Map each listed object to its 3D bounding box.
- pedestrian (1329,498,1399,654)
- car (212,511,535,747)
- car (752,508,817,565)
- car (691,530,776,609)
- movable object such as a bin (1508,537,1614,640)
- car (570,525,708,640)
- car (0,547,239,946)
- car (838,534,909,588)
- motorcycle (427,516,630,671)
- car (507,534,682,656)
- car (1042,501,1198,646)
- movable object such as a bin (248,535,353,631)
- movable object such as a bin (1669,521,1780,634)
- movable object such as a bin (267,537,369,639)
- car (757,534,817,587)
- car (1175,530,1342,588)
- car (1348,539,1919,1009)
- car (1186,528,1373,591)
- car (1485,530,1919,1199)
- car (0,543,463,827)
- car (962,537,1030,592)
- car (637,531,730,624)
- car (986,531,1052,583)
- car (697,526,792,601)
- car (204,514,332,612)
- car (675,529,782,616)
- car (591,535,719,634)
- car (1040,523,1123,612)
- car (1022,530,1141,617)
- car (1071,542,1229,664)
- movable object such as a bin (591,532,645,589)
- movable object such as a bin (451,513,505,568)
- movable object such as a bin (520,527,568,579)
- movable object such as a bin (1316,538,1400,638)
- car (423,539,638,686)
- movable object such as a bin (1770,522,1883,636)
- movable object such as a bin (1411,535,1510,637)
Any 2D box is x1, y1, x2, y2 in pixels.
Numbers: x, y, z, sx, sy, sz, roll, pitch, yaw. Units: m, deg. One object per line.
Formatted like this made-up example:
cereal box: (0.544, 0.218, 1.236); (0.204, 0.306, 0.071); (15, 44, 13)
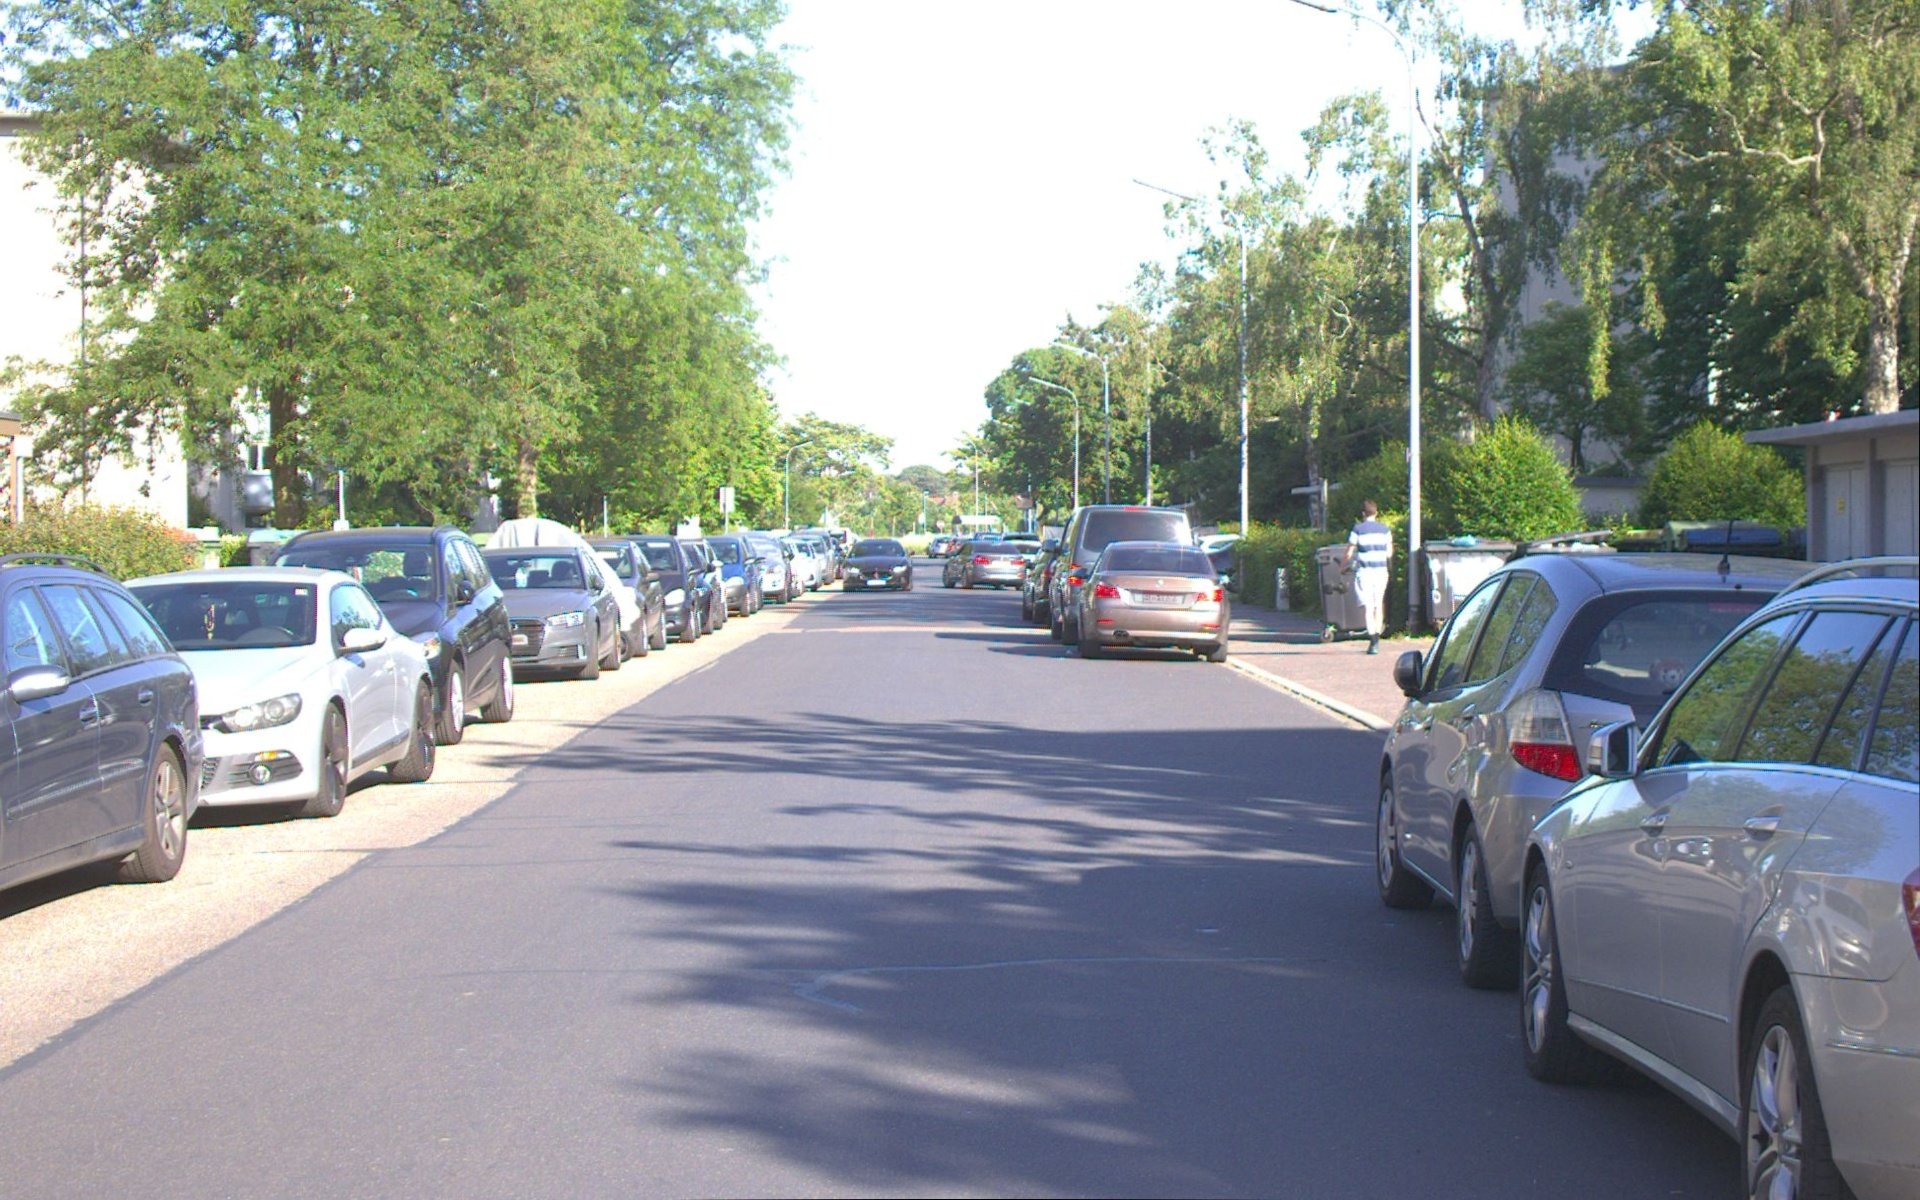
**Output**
pedestrian: (5.001, -0.301, 42.587); (0.703, 1.882, 0.872); (-2, 1, 1)
car: (-4.469, 0.164, 26.796); (1.754, 1.630, 4.371); (-2, 1, 0)
car: (-4.854, -1.774, 95.459); (1.686, 1.529, 3.891); (-1, 1, -1)
car: (-4.753, -0.659, 72.450); (1.635, 1.600, 3.535); (-1, 1, -1)
movable object such as a bin: (8.056, -0.169, 46.138); (1.276, 1.360, 1.133); (0, 1, 3)
car: (-4.684, -0.281, 50.576); (1.754, 1.569, 3.721); (-2, 1, -2)
car: (-4.435, 0.568, 14.109); (1.754, 1.485, 4.900); (-3, 1, 1)
car: (-2.398, -1.108, 96.324); (1.910, 1.471, 4.571); (0, 1, -1)
motorcycle: (-5.093, -0.089, 40.667); (2.256, 1.721, 0.932); (-2, 1, -3)
car: (-4.751, -0.103, 45.114); (1.754, 1.476, 3.959); (-2, 1, 1)
car: (2.242, -0.403, 49.241); (1.852, 1.927, 4.705); (2, 1, -1)
movable object such as a bin: (-9.109, -0.247, 47.521); (1.177, 1.283, 1.343); (1, 1, 0)
movable object such as a bin: (10.425, -0.312, 46.929); (1.276, 1.460, 1.133); (0, 5, 3)
movable object such as a bin: (-9.131, -0.179, 48.944); (1.177, 1.403, 1.343); (1, 1, 0)
car: (-5.040, -1.158, 100.477); (1.686, 1.500, 3.818); (0, 1, -2)
car: (8.162, -1.130, 94.369); (4.415, 1.508, 1.829); (-1, 1, 0)
car: (2.577, 0.532, 13.029); (1.804, 1.489, 3.795); (1, 1, 1)
car: (7.976, -1.019, 86.162); (4.513, 1.508, 1.829); (-1, 1, 1)
car: (2.476, 0.622, 7.980); (1.831, 1.540, 4.641); (1, 1, 1)
car: (-4.138, 0.422, 19.967); (1.754, 1.420, 4.210); (-2, 1, 1)
car: (1.025, -1.046, 100.437); (1.679, 1.508, 4.105); (2, 1, -3)
car: (-4.951, -0.422, 61.770); (1.444, 1.569, 3.142); (-2, 1, -1)
car: (1.815, -1.355, 107.233); (1.753, 1.508, 4.105); (2, 1, -3)
car: (-4.867, -0.858, 78.151); (1.903, 1.634, 4.349); (-1, 1, -1)
car: (-12.155, -0.671, 60.583); (1.570, 1.635, 4.001); (1, 1, -2)
car: (-4.512, -0.558, 67.523); (1.754, 1.600, 3.969); (-2, 1, 0)
car: (-4.900, -0.287, 55.698); (1.754, 1.476, 4.538); (-2, 1, -2)
car: (2.423, -0.664, 69.040); (1.488, 1.712, 2.583); (2, 1, -1)
car: (2.141, -0.507, 61.616); (1.731, 1.484, 4.502); (-1, 1, -3)
car: (2.351, -0.003, 43.578); (1.801, 1.414, 4.636); (1, 1, 1)
movable object such as a bin: (-8.599, -1.003, 86.503); (1.136, 1.378, 1.442); (3, 1, 1)
movable object such as a bin: (-13.200, -1.633, 94.126); (1.177, 1.416, 1.462); (3, 1, 2)
movable object such as a bin: (-11.852, -1.341, 97.964); (1.134, 1.416, 1.361); (3, 1, 1)
movable object such as a bin: (5.506, -0.168, 47.501); (1.026, 1.305, 1.386); (-3, 1, 10)
car: (-4.538, 0.088, 36.858); (1.754, 1.416, 4.269); (-2, 1, 0)
movable object such as a bin: (11.791, -0.296, 46.825); (1.276, 1.460, 1.133); (0, 5, 3)
movable object such as a bin: (6.763, -0.201, 46.529); (1.224, 1.360, 1.133); (0, 1, 3)
